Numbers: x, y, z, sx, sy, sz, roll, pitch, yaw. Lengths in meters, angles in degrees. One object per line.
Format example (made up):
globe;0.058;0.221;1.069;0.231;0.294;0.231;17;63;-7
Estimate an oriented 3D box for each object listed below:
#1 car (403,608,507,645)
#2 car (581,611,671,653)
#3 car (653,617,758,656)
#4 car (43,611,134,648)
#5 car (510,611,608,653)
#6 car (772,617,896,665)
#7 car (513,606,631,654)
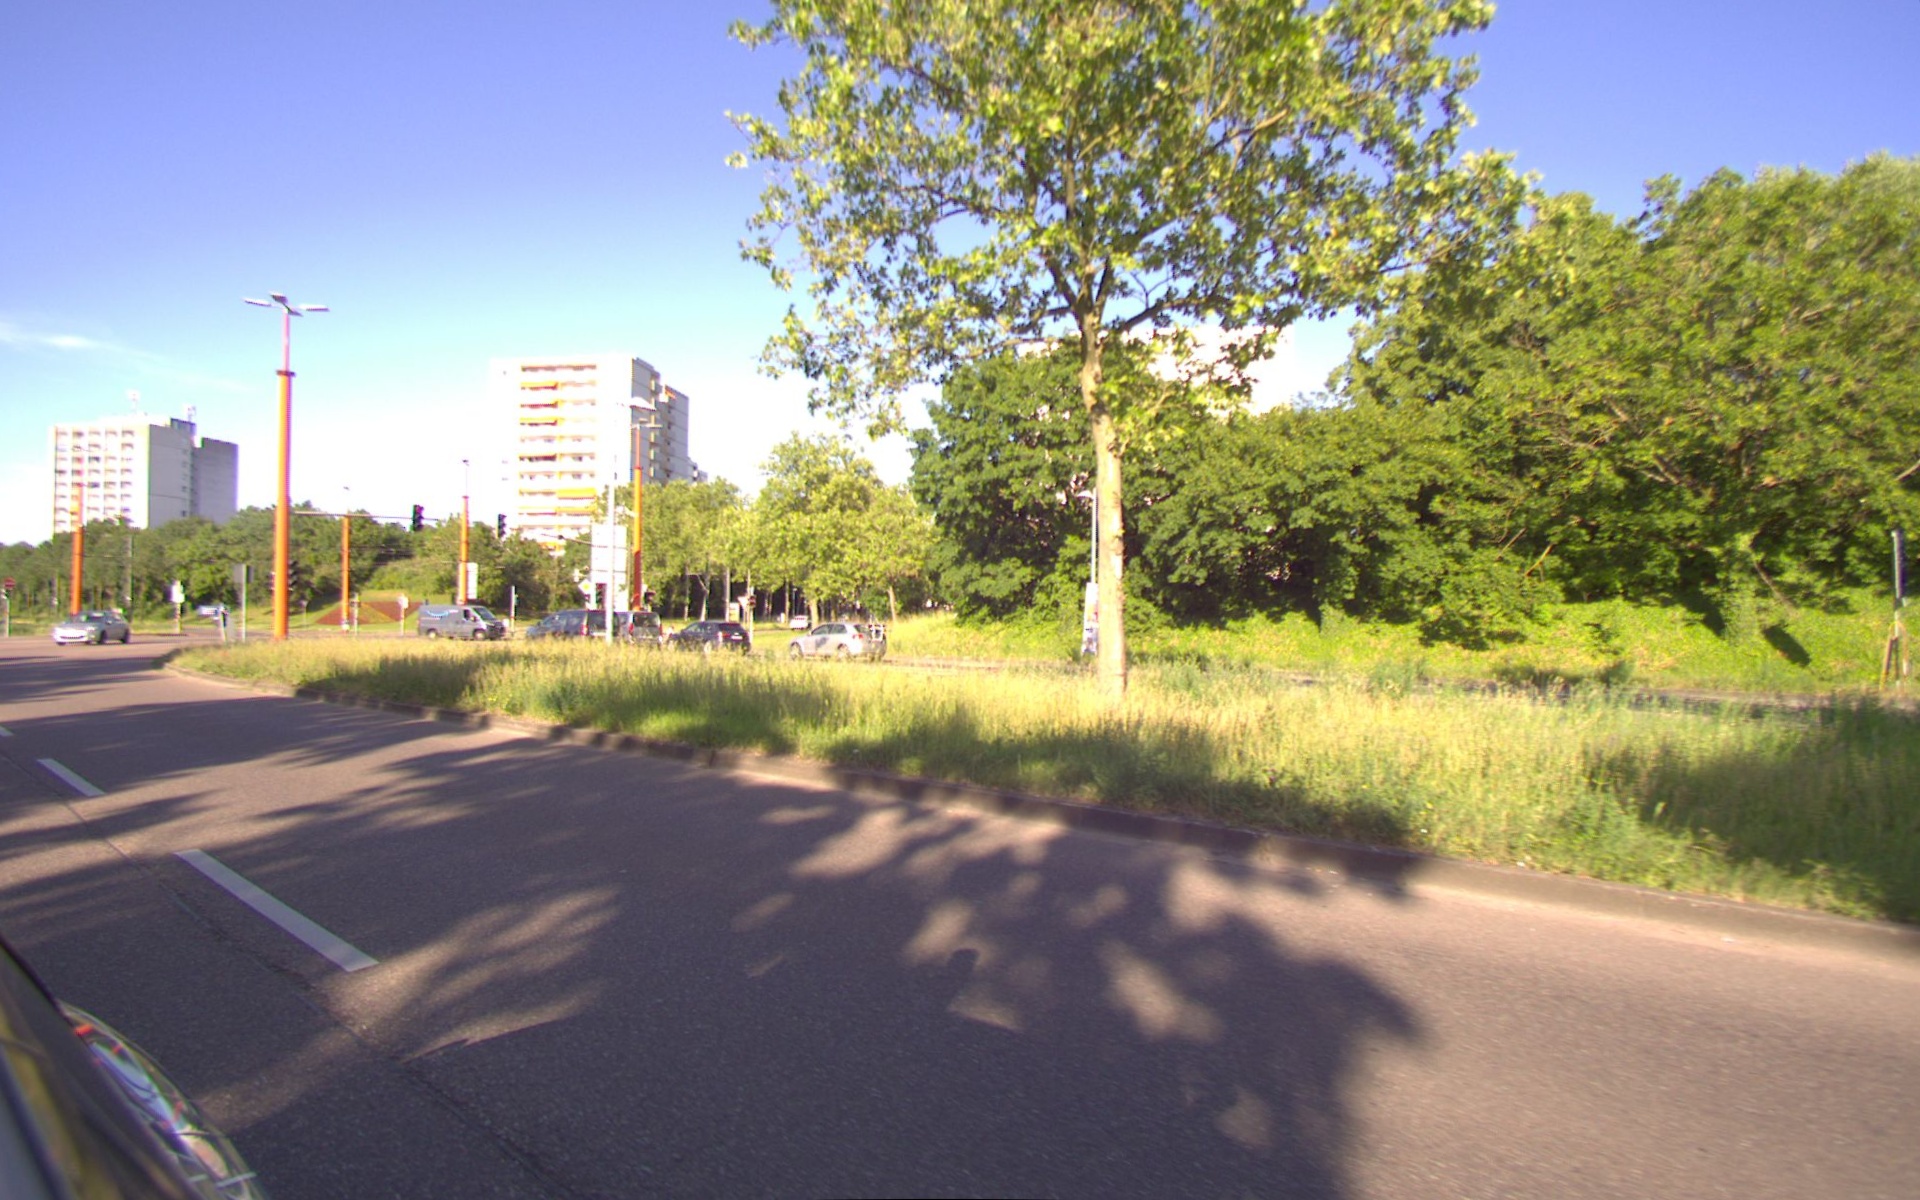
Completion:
car;-31.439;1.624;63.103;5.585;2.221;2.040;0;-1;2
car;-15.173;1.446;45.875;4.444;1.789;1.878;-1;-3;41
car;-10.406;1.469;41.279;4.563;1.485;1.878;-1;-3;41
car;-39.732;1.321;46.271;1.881;1.570;4.742;0;-1;-25
car;-16.692;1.322;42.069;4.563;1.623;1.878;-1;-3;41
car;-4.599;1.450;36.532;4.563;1.623;1.878;-1;-3;41
car;-13.512;1.034;35.108;4.563;1.577;1.878;-1;-3;41
